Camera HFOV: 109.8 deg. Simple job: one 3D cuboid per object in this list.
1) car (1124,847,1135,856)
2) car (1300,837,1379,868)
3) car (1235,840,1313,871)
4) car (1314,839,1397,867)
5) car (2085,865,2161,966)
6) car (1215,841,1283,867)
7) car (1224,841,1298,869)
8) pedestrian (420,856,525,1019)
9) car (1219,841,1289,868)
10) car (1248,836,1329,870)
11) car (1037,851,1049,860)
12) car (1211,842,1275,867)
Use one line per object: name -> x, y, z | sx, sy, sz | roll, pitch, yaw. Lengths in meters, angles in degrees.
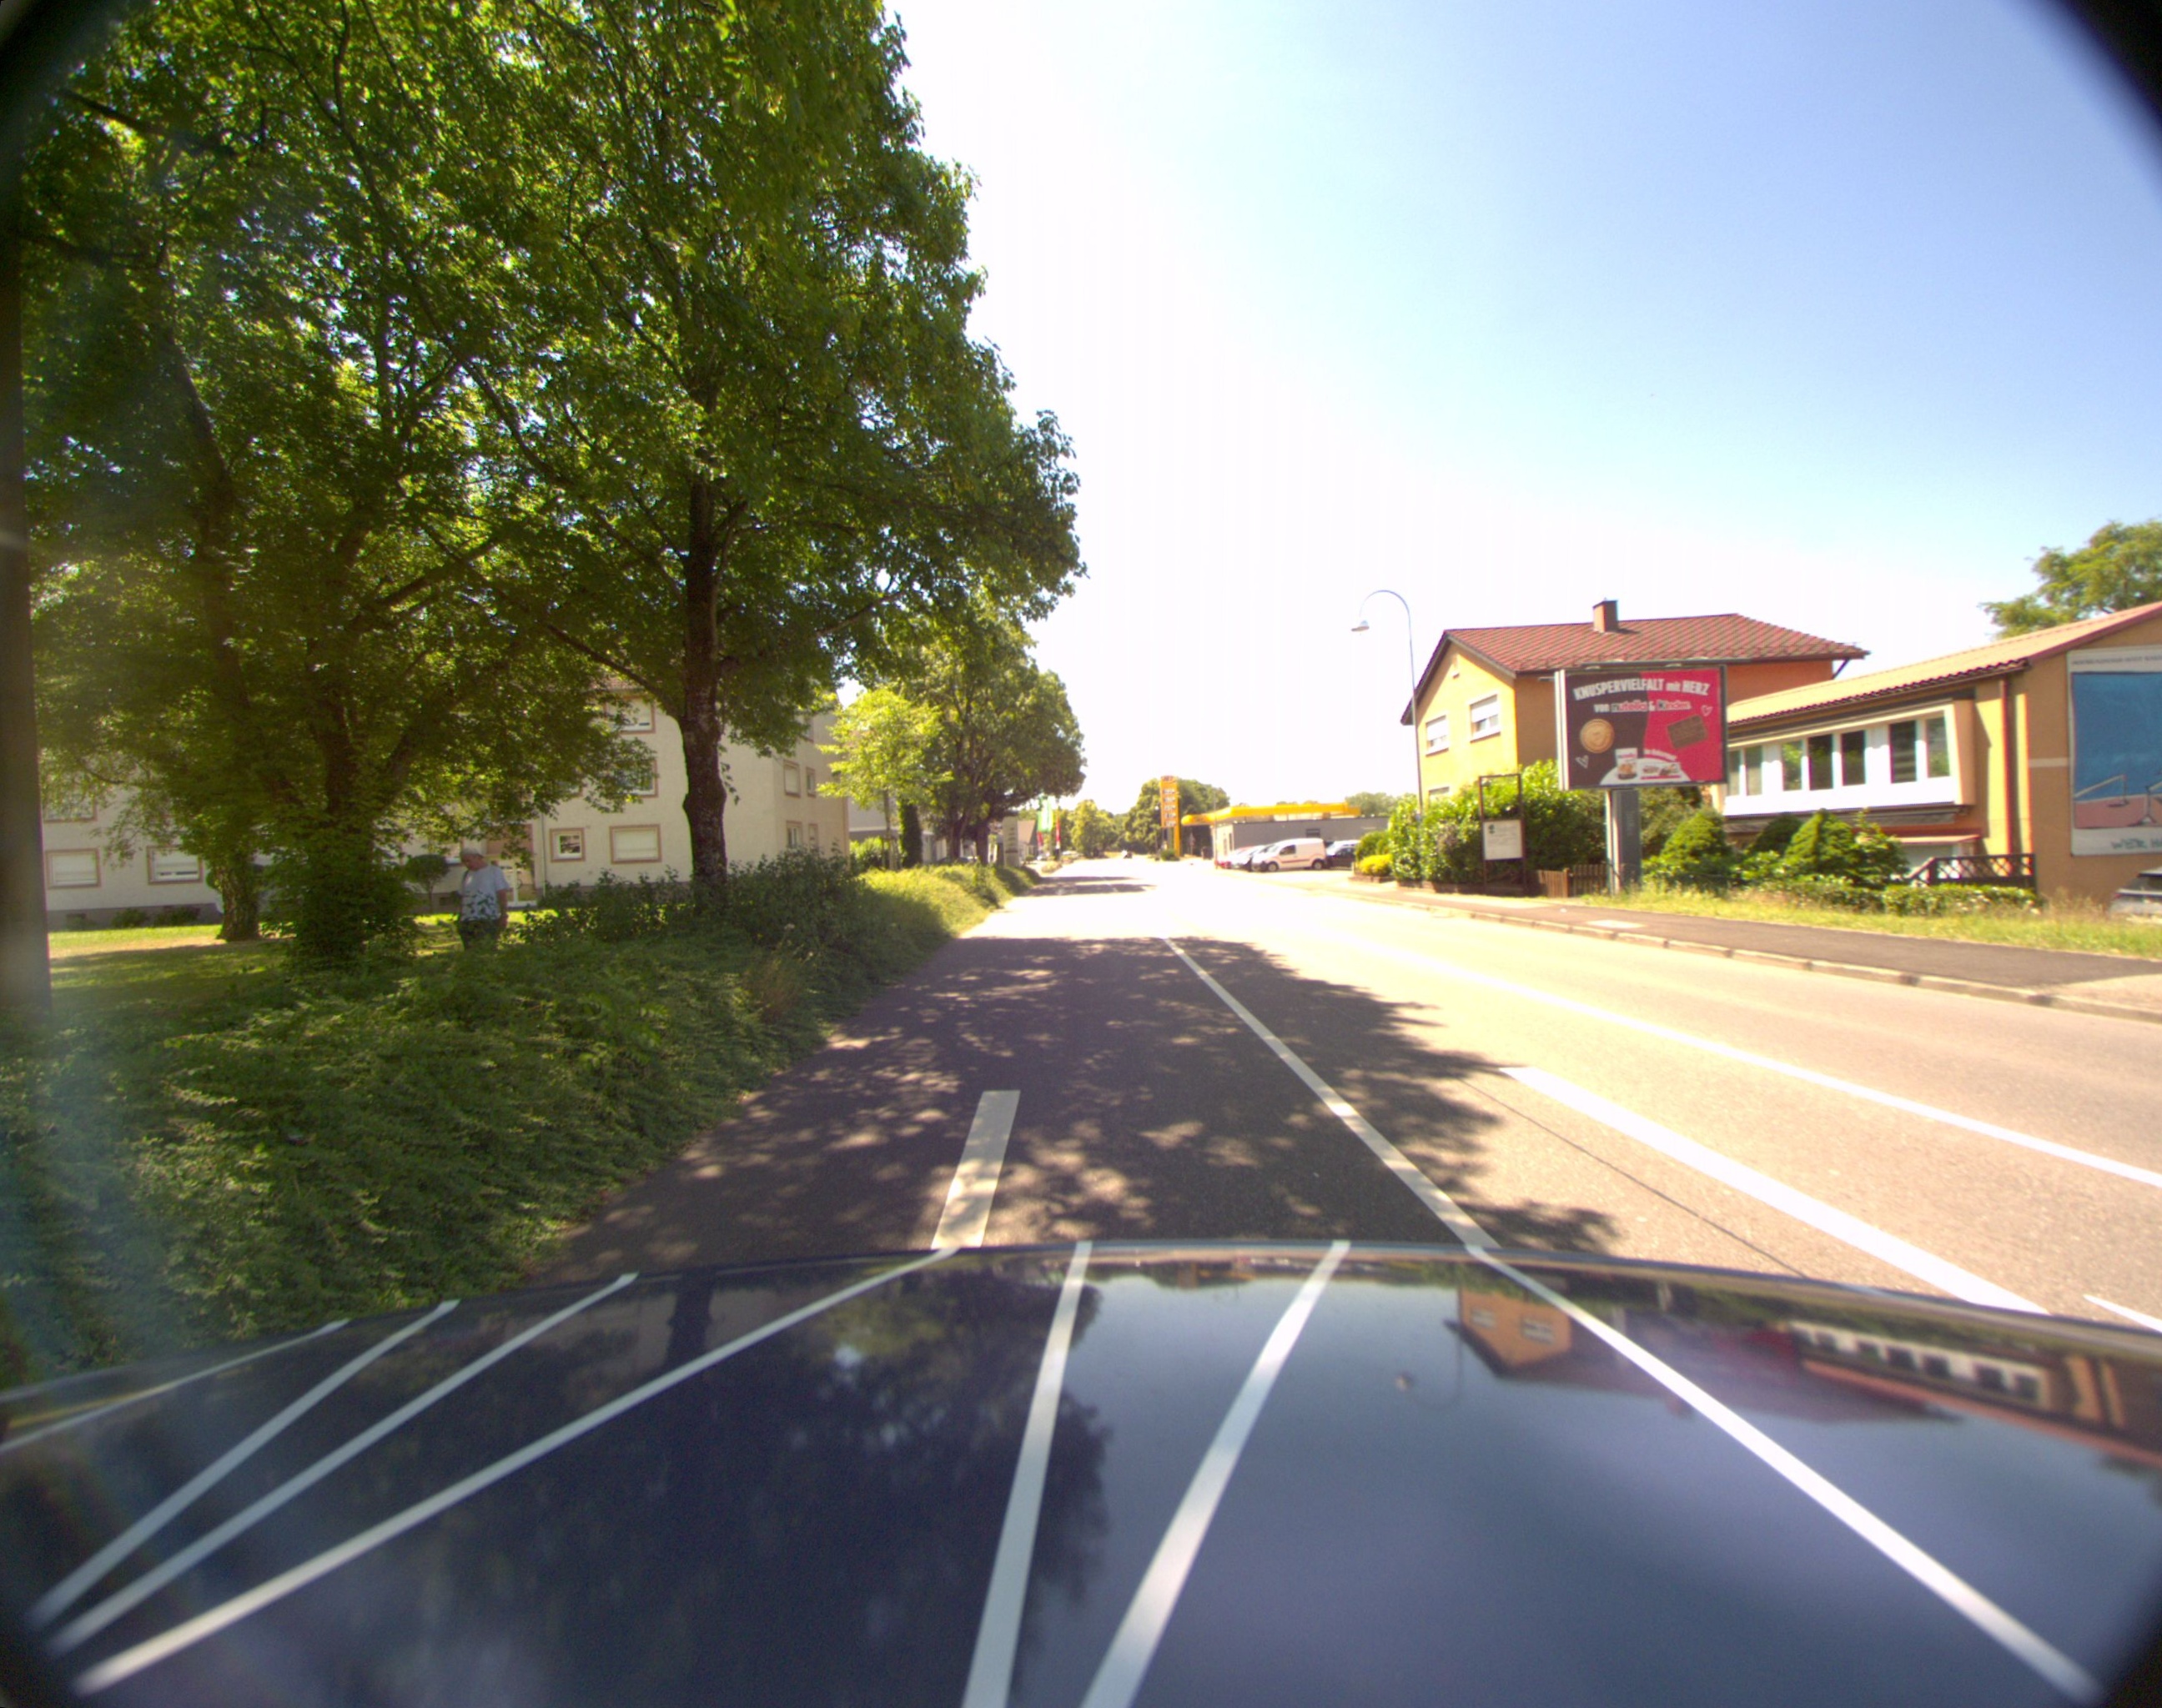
car -> 8.817, -0.499, 139.392 | 1.809, 1.552, 4.063 | -2, 1, 2
car -> 16.512, -0.120, 48.657 | 4.402, 1.815, 1.874 | -2, 1, -5
car -> 11.771, 0.090, 46.503 | 4.246, 1.750, 1.874 | -2, 1, -5
car -> 16.749, -0.056, 46.440 | 4.402, 1.554, 1.874 | -2, 1, -5
car -> 19.806, 0.985, 12.348 | 4.224, 1.599, 1.772 | -1, 1, 7
car -> 12.240, -0.029, 55.521 | 4.402, 1.750, 1.874 | -2, 1, -5
car -> 12.052, 0.064, 51.063 | 4.402, 1.750, 1.874 | -2, 1, -5
pedestrian -> -7.448, 0.974, 9.352 | 0.675, 1.863, 0.901 | -3, 2, -21
car -> 12.160, 0.023, 53.398 | 4.402, 1.750, 1.874 | -2, 1, -5
car -> 12.098, -0.051, 44.427 | 4.191, 1.858, 1.874 | -2, 1, -5
car -> -7.150, 0.220, 142.087 | 1.771, 1.521, 4.131 | -2, 1, 3
car -> 12.313, 0.036, 58.045 | 4.402, 1.750, 1.874 | -2, 1, -5
